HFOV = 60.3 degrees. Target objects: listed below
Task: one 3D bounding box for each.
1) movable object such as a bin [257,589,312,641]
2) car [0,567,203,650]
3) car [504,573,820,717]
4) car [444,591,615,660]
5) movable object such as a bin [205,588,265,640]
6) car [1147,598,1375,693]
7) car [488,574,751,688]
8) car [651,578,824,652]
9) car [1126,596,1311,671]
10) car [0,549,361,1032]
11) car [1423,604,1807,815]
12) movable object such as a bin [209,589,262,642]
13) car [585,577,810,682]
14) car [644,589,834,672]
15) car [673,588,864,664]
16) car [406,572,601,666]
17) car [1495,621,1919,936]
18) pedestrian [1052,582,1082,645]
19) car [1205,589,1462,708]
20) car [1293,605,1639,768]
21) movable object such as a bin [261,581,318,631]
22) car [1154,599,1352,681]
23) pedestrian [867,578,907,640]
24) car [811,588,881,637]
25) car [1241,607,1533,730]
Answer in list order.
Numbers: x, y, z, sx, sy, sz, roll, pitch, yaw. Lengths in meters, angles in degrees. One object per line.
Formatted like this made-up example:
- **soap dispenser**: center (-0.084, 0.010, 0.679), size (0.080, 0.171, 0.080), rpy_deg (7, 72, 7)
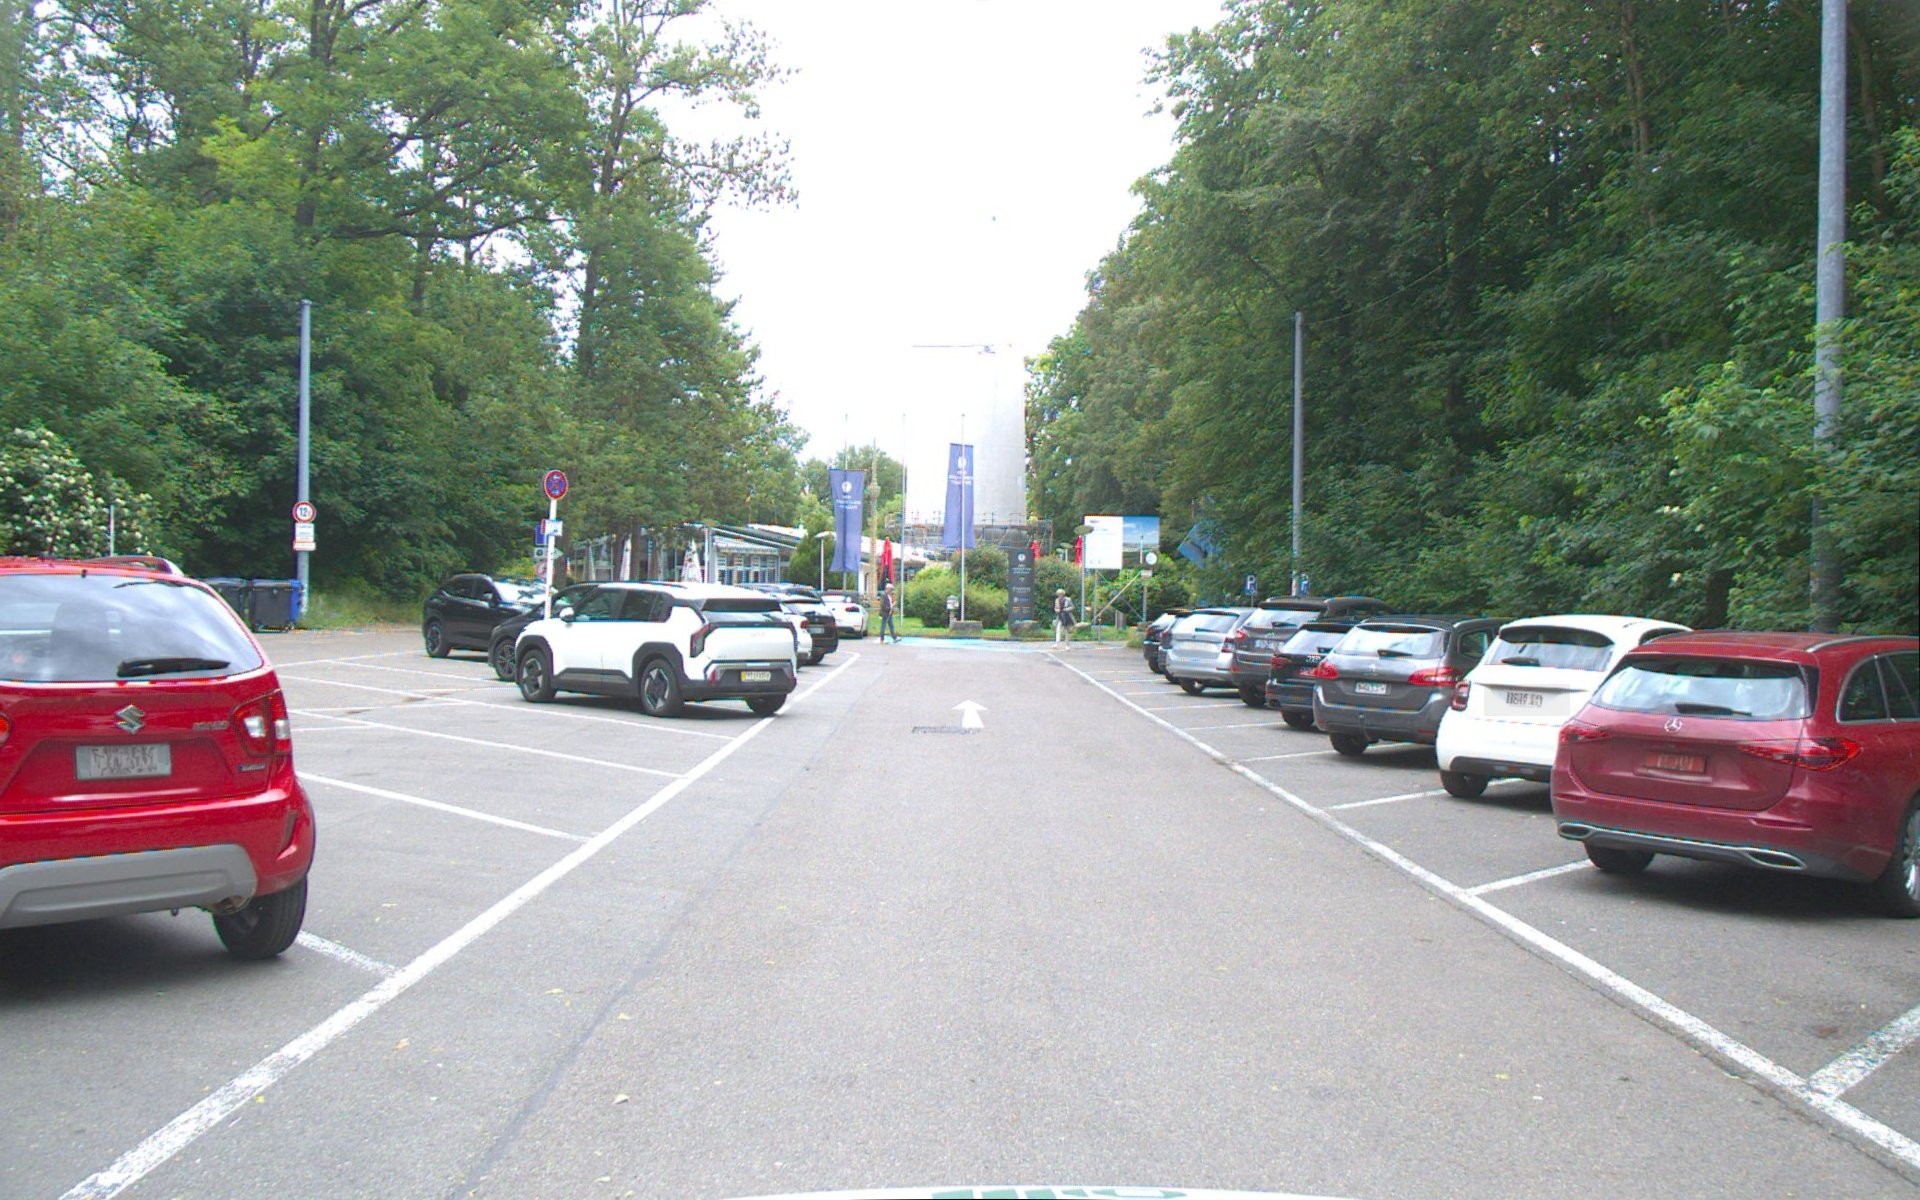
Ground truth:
- **movable object such as a bin**: center (-17.641, 0.392, 43.188), size (1.156, 1.330, 1.300), rpy_deg (1, 0, -30)
- **car**: center (-19.039, 0.179, 36.308), size (4.040, 1.714, 1.850), rpy_deg (1, 0, -44)
- **car**: center (-3.830, 0.492, 20.891), size (4.116, 1.624, 1.835), rpy_deg (1, 0, 43)
- **car**: center (-9.604, 0.534, 36.729), size (1.756, 1.418, 4.319), rpy_deg (1, 0, -45)
- **movable object such as a bin**: center (-19.454, 0.372, 44.407), size (1.101, 1.343, 1.239), rpy_deg (1, 0, -5)
- **car**: center (5.227, 0.738, 28.470), size (3.964, 1.492, 1.808), rpy_deg (0, 1, -41)
- **car**: center (-5.238, 0.424, 25.286), size (3.923, 1.581, 1.865), rpy_deg (1, 0, 38)
- **car**: center (-5.351, 0.325, 39.451), size (4.313, 1.637, 1.817), rpy_deg (1, 0, 44)
- **car**: center (5.662, 0.712, 35.879), size (4.174, 1.488, 1.868), rpy_deg (1, 0, -45)
- **car**: center (-4.237, 0.615, 7.066), size (3.590, 1.613, 1.676), rpy_deg (1, 0, 42)
- **car**: center (5.643, 0.823, 14.078), size (3.554, 1.531, 1.708), rpy_deg (1, 0, -43)
- **movable object such as a bin**: center (-18.668, 0.387, 42.602), size (1.111, 1.338, 1.173), rpy_deg (1, 0, -30)
- **car**: center (-4.516, 0.449, 28.162), size (3.911, 1.614, 1.834), rpy_deg (2, 1, 45)
- **car**: center (-4.352, 0.556, 32.206), size (1.760, 1.468, 3.783), rpy_deg (1, 0, -44)
- **car**: center (-4.126, 0.519, 35.262), size (4.205, 1.468, 1.748), rpy_deg (1, 0, 43)
- **car**: center (-8.913, 0.326, 32.138), size (3.930, 1.692, 1.887), rpy_deg (1, 0, 43)
- **car**: center (5.209, 0.883, 9.933), size (4.258, 1.438, 1.899), rpy_deg (1, 0, -41)
- **pedestrian**: center (3.014, 0.375, 46.570), size (0.745, 1.755, 0.898), rpy_deg (1, 0, 9)
- **car**: center (5.832, 0.703, 25.543), size (1.933, 1.665, 4.232), rpy_deg (1, 0, 45)
- **car**: center (5.424, 0.815, 17.439), size (1.775, 1.483, 4.157), rpy_deg (1, 0, 45)
- **movable object such as a bin**: center (-18.324, 0.162, 45.234), size (1.231, 1.348, 1.143), rpy_deg (1, 0, -13)
- **car**: center (5.693, 0.736, 31.891), size (1.878, 1.447, 3.972), rpy_deg (1, 0, 44)
- **pedestrian**: center (-2.112, 0.256, 47.875), size (0.876, 1.755, 0.764), rpy_deg (1, 0, 24)
- **car**: center (-3.557, 0.379, 52.278), size (1.854, 1.453, 4.001), rpy_deg (1, 0, 1)
- **car**: center (5.629, 0.820, 21.501), size (1.931, 1.401, 4.236), rpy_deg (1, 0, 42)
